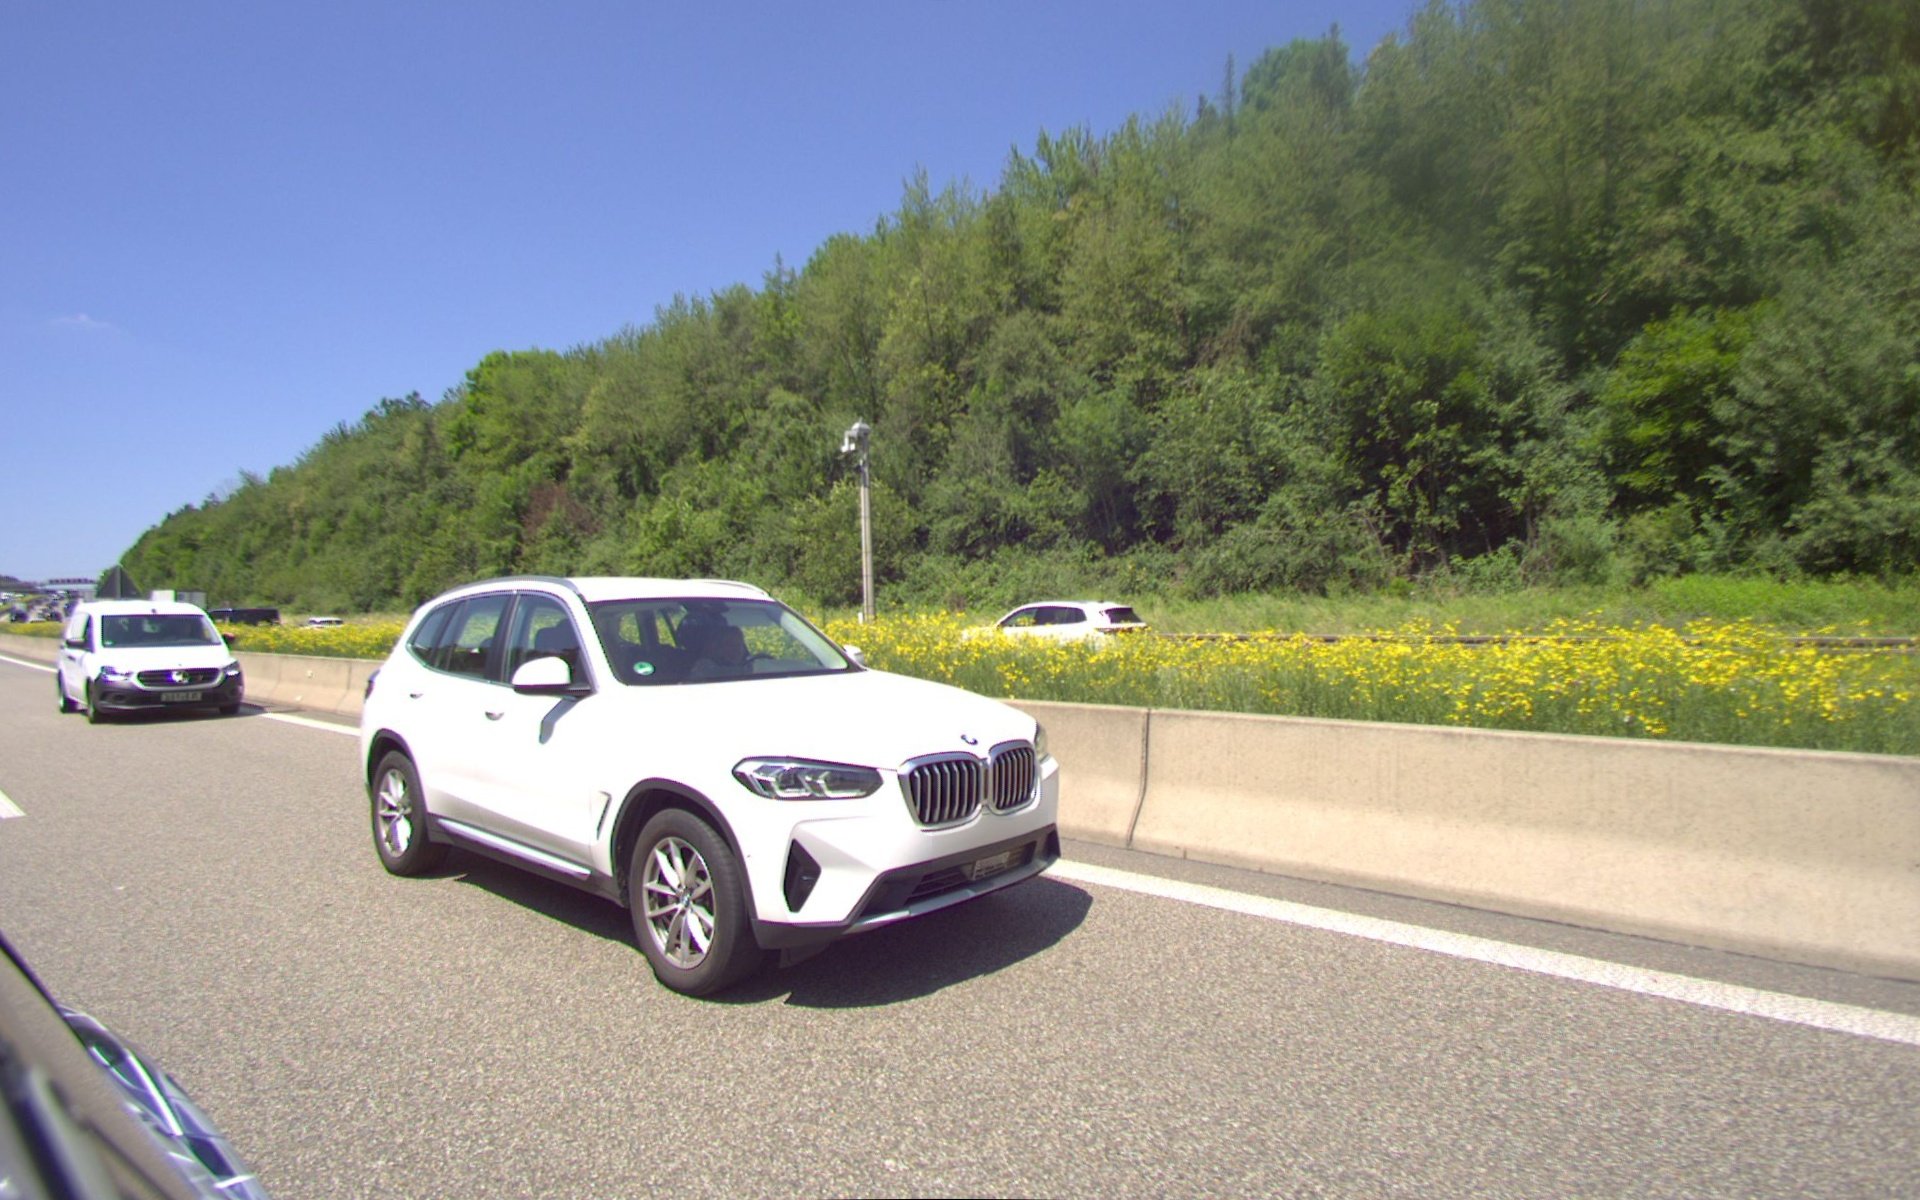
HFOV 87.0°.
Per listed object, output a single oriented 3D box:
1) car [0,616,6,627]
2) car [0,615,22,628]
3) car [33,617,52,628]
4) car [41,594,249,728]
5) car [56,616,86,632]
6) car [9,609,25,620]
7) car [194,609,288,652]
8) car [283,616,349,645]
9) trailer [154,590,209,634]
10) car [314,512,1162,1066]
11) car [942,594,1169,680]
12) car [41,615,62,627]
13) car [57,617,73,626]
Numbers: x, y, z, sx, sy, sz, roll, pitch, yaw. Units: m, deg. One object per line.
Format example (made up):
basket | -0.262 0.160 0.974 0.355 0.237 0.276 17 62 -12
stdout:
car | -157.999 3.502 165.944 4.000 1.763 1.972 -1 -1 43
car | -125.403 2.877 133.625 4.080 1.691 1.972 -1 -1 43
car | -149.263 3.657 164.698 4.000 1.741 1.972 -1 -1 43
car | -12.984 0.872 16.017 4.671 1.826 1.747 -1 -1 41
car | -94.376 2.530 107.449 4.000 1.584 1.972 0 0 42
car | -182.294 2.844 195.610 4.901 2.029 1.971 0 0 44
car | -27.330 1.109 38.392 4.874 1.484 1.972 0 0 43
car | -35.239 1.626 55.329 4.170 1.453 1.973 0 0 41
trailer | -80.336 1.183 104.252 13.939 4.239 2.684 0 0 45
car | -1.575 0.627 5.446 4.952 1.707 1.845 -1 -1 40
car | 1.951 0.754 21.487 4.480 1.629 1.973 -2 -1 40
car | -127.367 2.915 141.855 3.980 1.654 1.927 -1 -1 43
car | -155.200 3.731 175.516 1.970 1.519 4.004 1 -2 -43
